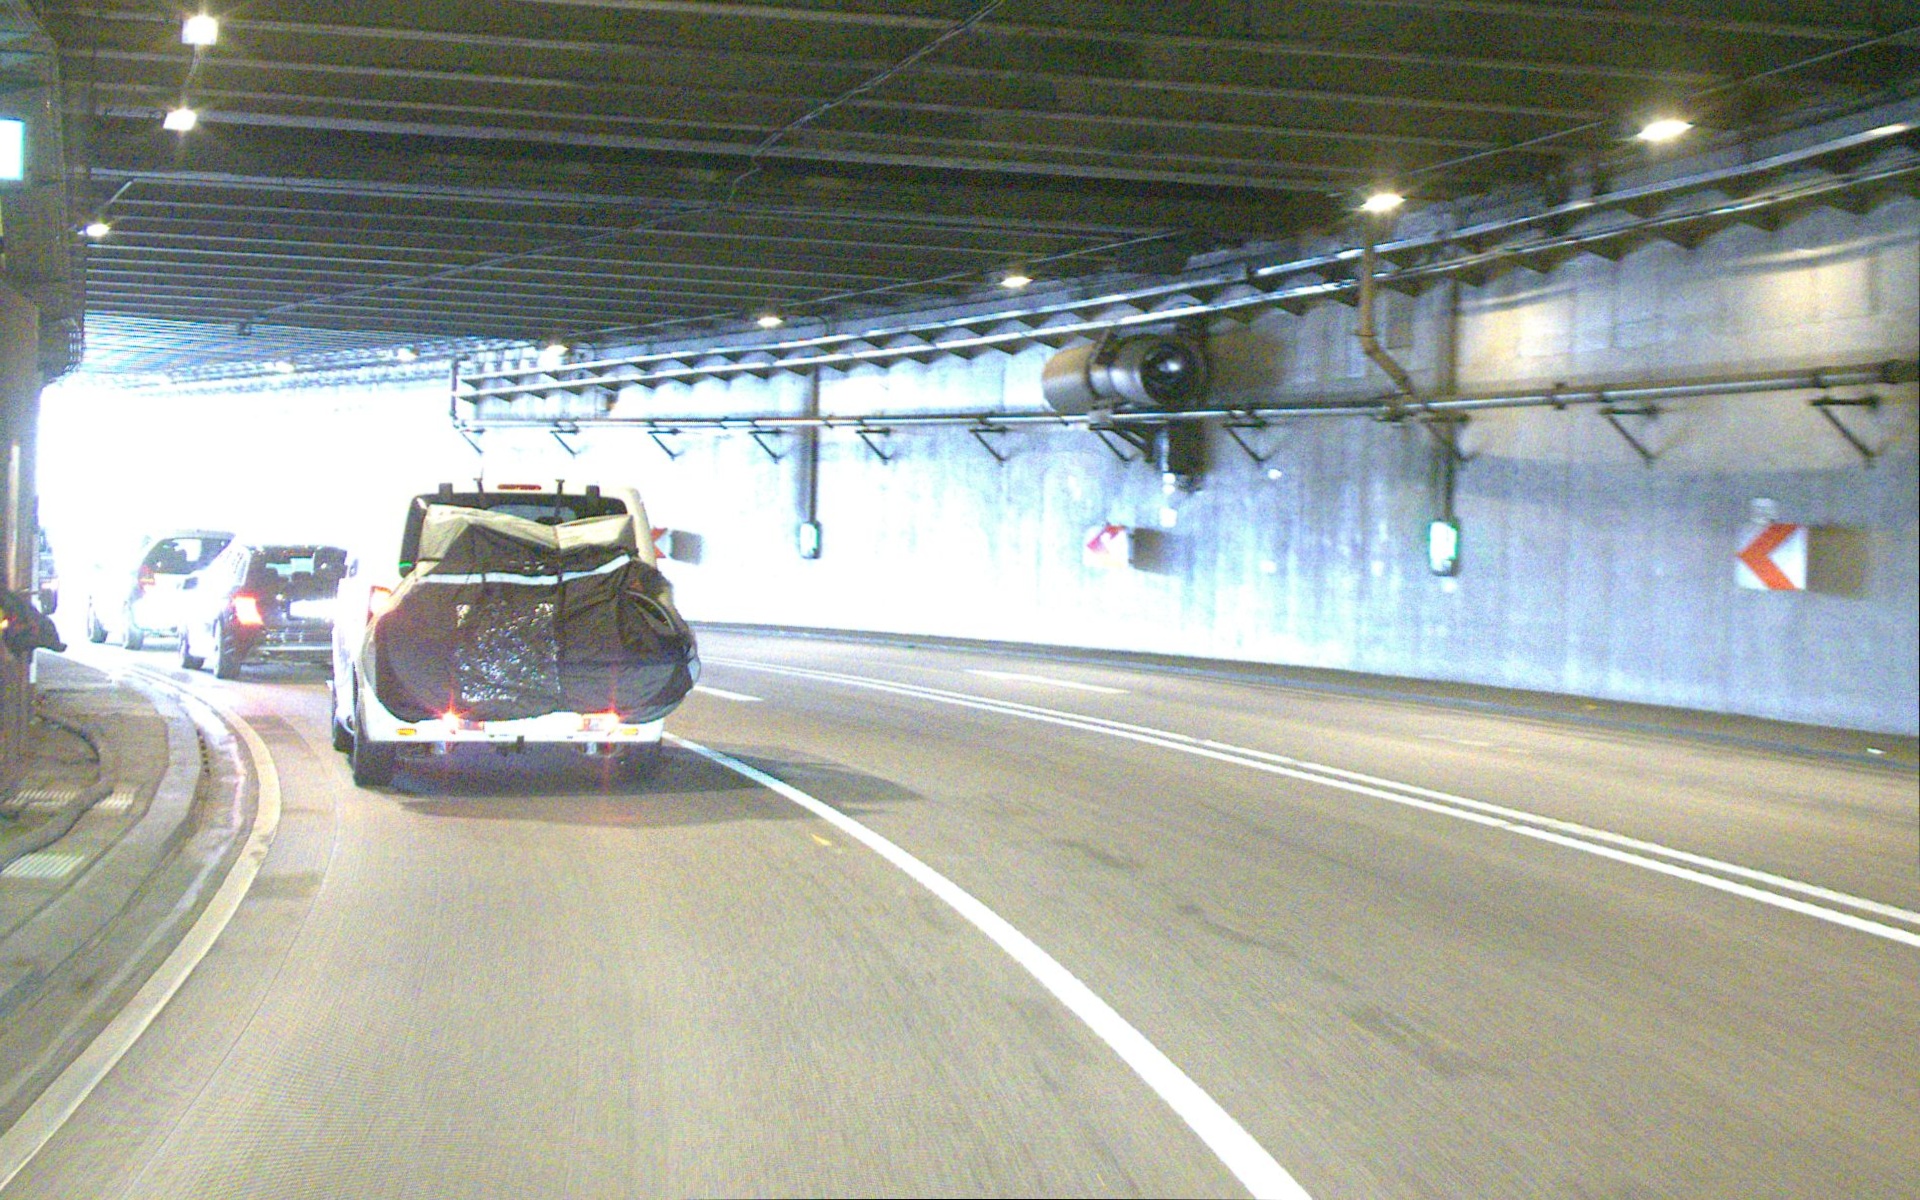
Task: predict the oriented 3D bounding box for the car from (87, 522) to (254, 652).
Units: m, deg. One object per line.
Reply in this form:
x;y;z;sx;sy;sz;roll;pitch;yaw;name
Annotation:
-10.299;-0.189;44.733;1.602;1.588;3.357;1;1;-21;car

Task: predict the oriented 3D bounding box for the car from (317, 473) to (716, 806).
-2.949;0.143;21.783;1.993;1.841;5.303;0;2;-13;car

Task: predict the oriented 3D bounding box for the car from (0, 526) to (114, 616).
-17.299;-0.565;65.145;1.602;1.624;3.356;1;0;-29;car

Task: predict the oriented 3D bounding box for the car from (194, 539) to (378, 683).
-7.069;0.088;35.864;1.602;1.390;3.278;1;1;-16;car
